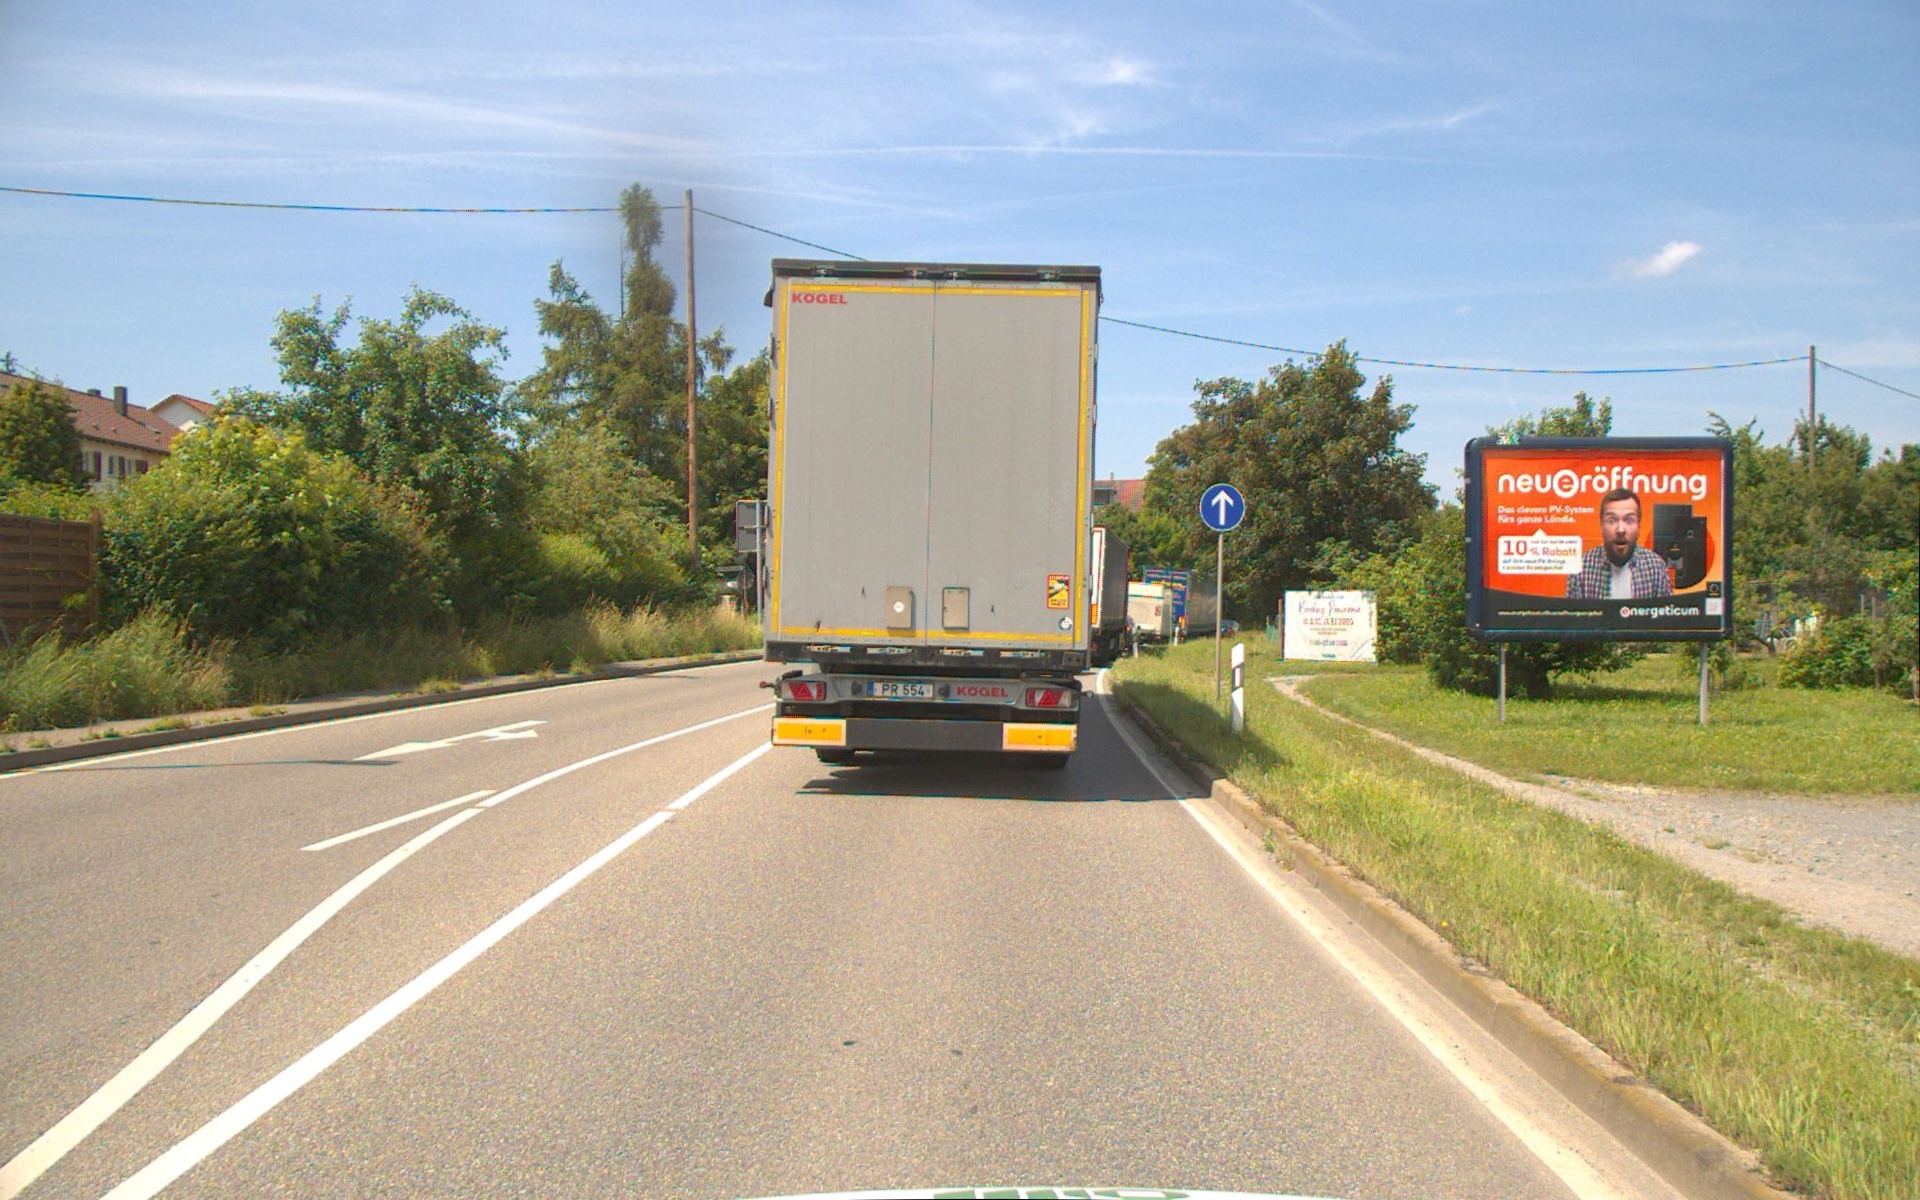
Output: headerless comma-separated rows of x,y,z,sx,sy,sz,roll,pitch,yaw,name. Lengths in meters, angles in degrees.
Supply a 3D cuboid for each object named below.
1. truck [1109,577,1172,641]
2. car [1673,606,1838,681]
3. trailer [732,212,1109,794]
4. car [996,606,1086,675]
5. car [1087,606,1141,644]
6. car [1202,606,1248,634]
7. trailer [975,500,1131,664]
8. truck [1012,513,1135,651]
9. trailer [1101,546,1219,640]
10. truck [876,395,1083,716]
8.643,0.393,78.704,2.369,2.888,5.417,1,0,12,truck
23.283,1.253,48.561,3.902,2.049,2.002,1,0,8,car
0.034,-0.770,18.362,2.728,4.278,12.116,1,0,3,trailer
2.065,0.960,41.308,1.951,1.556,4.003,1,0,7,car
6.588,1.034,70.505,1.802,1.512,4.003,1,0,12,car
17.281,1.301,107.767,1.954,1.713,3.998,1,0,24,car
3.264,-0.481,53.144,3.808,4.600,12.723,1,0,8,trailer
4.239,-0.596,59.942,3.853,4.655,7.157,1,0,8,truck
11.437,-0.400,92.446,5.069,4.709,15.909,1,0,12,trailer
0.441,-0.615,25.185,2.688,4.238,6.145,1,0,3,truck
